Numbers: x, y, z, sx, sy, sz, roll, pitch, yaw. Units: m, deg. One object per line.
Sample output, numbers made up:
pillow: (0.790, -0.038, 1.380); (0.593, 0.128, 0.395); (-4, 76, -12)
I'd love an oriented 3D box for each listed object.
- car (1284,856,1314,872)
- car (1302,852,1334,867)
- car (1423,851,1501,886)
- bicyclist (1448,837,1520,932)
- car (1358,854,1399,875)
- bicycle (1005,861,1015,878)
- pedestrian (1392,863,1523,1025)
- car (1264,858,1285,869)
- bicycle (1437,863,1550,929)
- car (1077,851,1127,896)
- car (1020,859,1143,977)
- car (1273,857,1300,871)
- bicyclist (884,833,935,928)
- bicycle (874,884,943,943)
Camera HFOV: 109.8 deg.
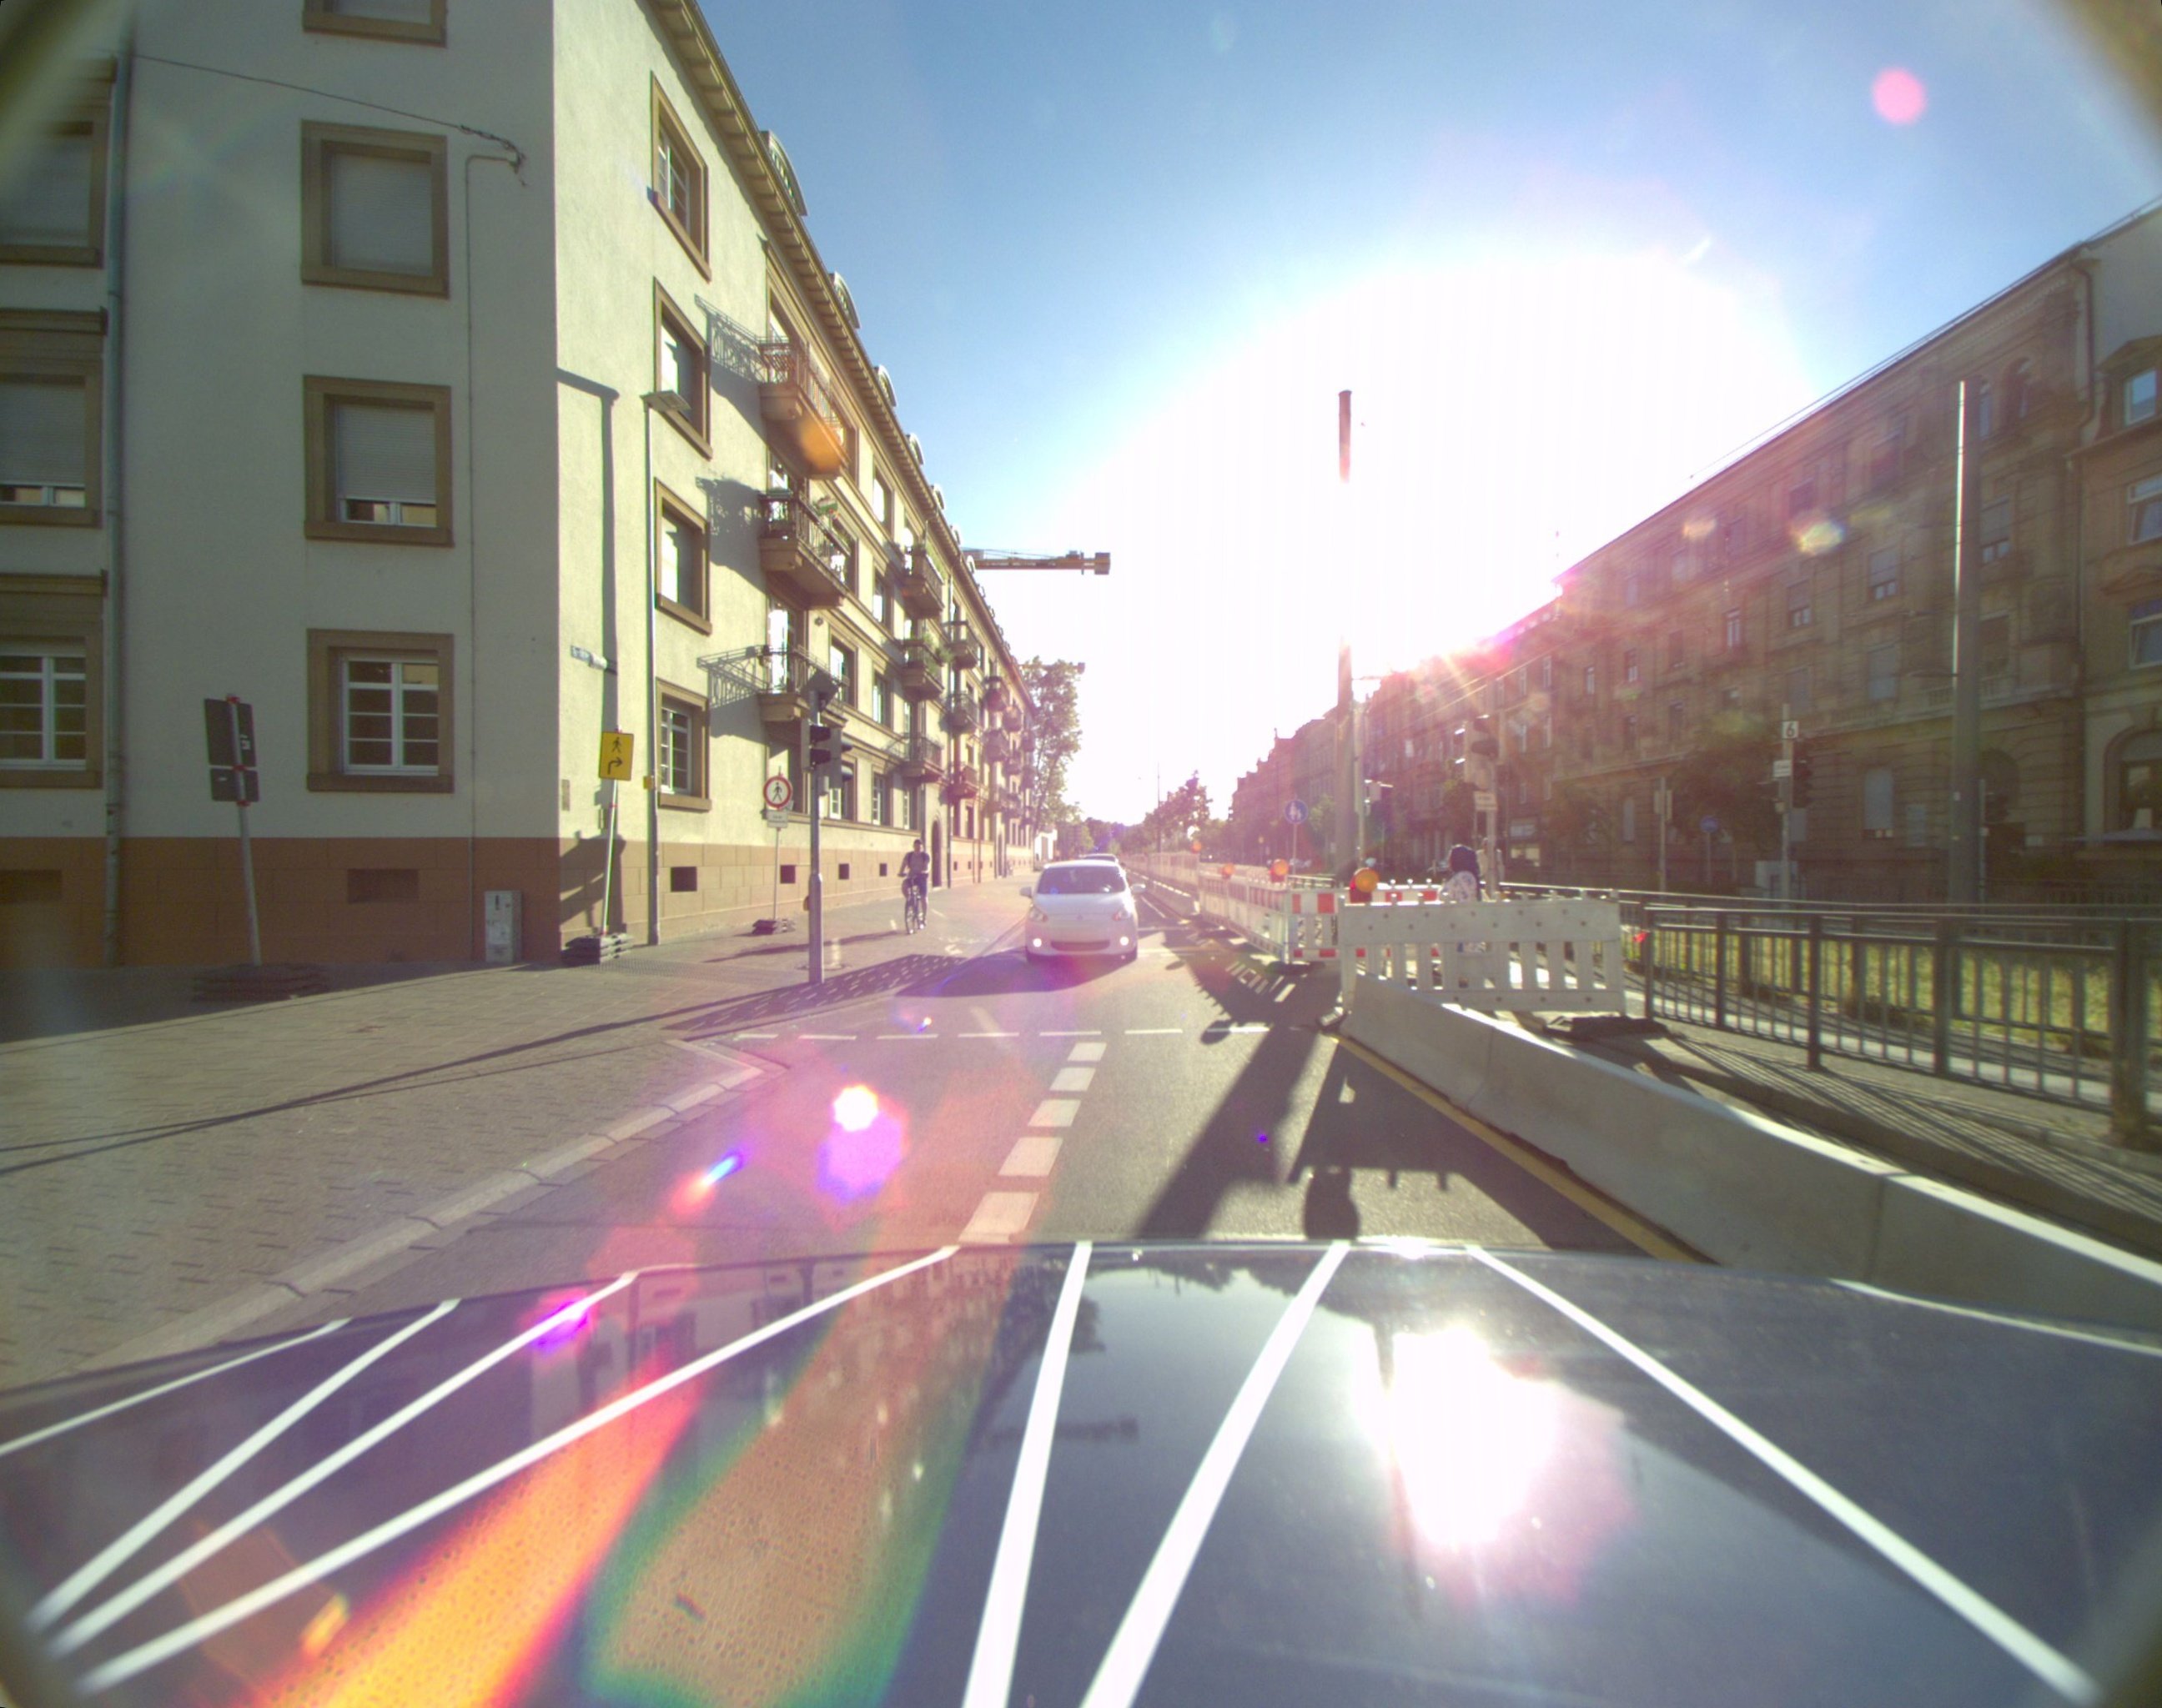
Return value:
car: (24.964, 1.103, 87.142); (1.998, 1.688, 4.888); (-2, 0, 1)
car: (24.898, 0.605, 79.995); (1.998, 1.429, 4.309); (-2, 0, 1)
car: (18.900, 0.683, 37.880); (1.800, 1.630, 4.477); (-1, 0, 3)
bicyclist: (7.763, 0.564, 14.655); (0.886, 1.763, 0.854); (-1, 1, -24)
car: (25.205, 0.859, 64.552); (1.942, 1.648, 4.545); (-2, 0, 4)
bicycle: (-4.891, 1.074, 52.615); (0.419, 1.089, 2.198); (0, 0, 2)
pedestrian: (3.578, 0.815, 7.300); (0.791, 1.449, 0.946); (0, 0, 0)
car: (25.479, 1.236, 100.096); (1.752, 1.470, 4.028); (-2, 0, 2)
bicycle: (7.903, 0.773, 14.554); (2.000, 1.147, 0.854); (-1, 1, -24)
car: (0.866, 0.755, 31.405); (1.899, 1.730, 4.000); (-1, 0, 1)
car: (0.081, 0.894, 12.659); (1.634, 1.499, 4.350); (-2, 1, 2)
car: (25.238, 1.225, 93.414); (1.998, 1.529, 4.985); (-2, 0, 2)
bicyclist: (-3.258, 0.496, 14.539); (0.734, 1.753, 0.938); (0, 0, 1)
bicycle: (-3.271, 1.105, 14.611); (0.769, 0.947, 2.198); (0, 0, 1)
